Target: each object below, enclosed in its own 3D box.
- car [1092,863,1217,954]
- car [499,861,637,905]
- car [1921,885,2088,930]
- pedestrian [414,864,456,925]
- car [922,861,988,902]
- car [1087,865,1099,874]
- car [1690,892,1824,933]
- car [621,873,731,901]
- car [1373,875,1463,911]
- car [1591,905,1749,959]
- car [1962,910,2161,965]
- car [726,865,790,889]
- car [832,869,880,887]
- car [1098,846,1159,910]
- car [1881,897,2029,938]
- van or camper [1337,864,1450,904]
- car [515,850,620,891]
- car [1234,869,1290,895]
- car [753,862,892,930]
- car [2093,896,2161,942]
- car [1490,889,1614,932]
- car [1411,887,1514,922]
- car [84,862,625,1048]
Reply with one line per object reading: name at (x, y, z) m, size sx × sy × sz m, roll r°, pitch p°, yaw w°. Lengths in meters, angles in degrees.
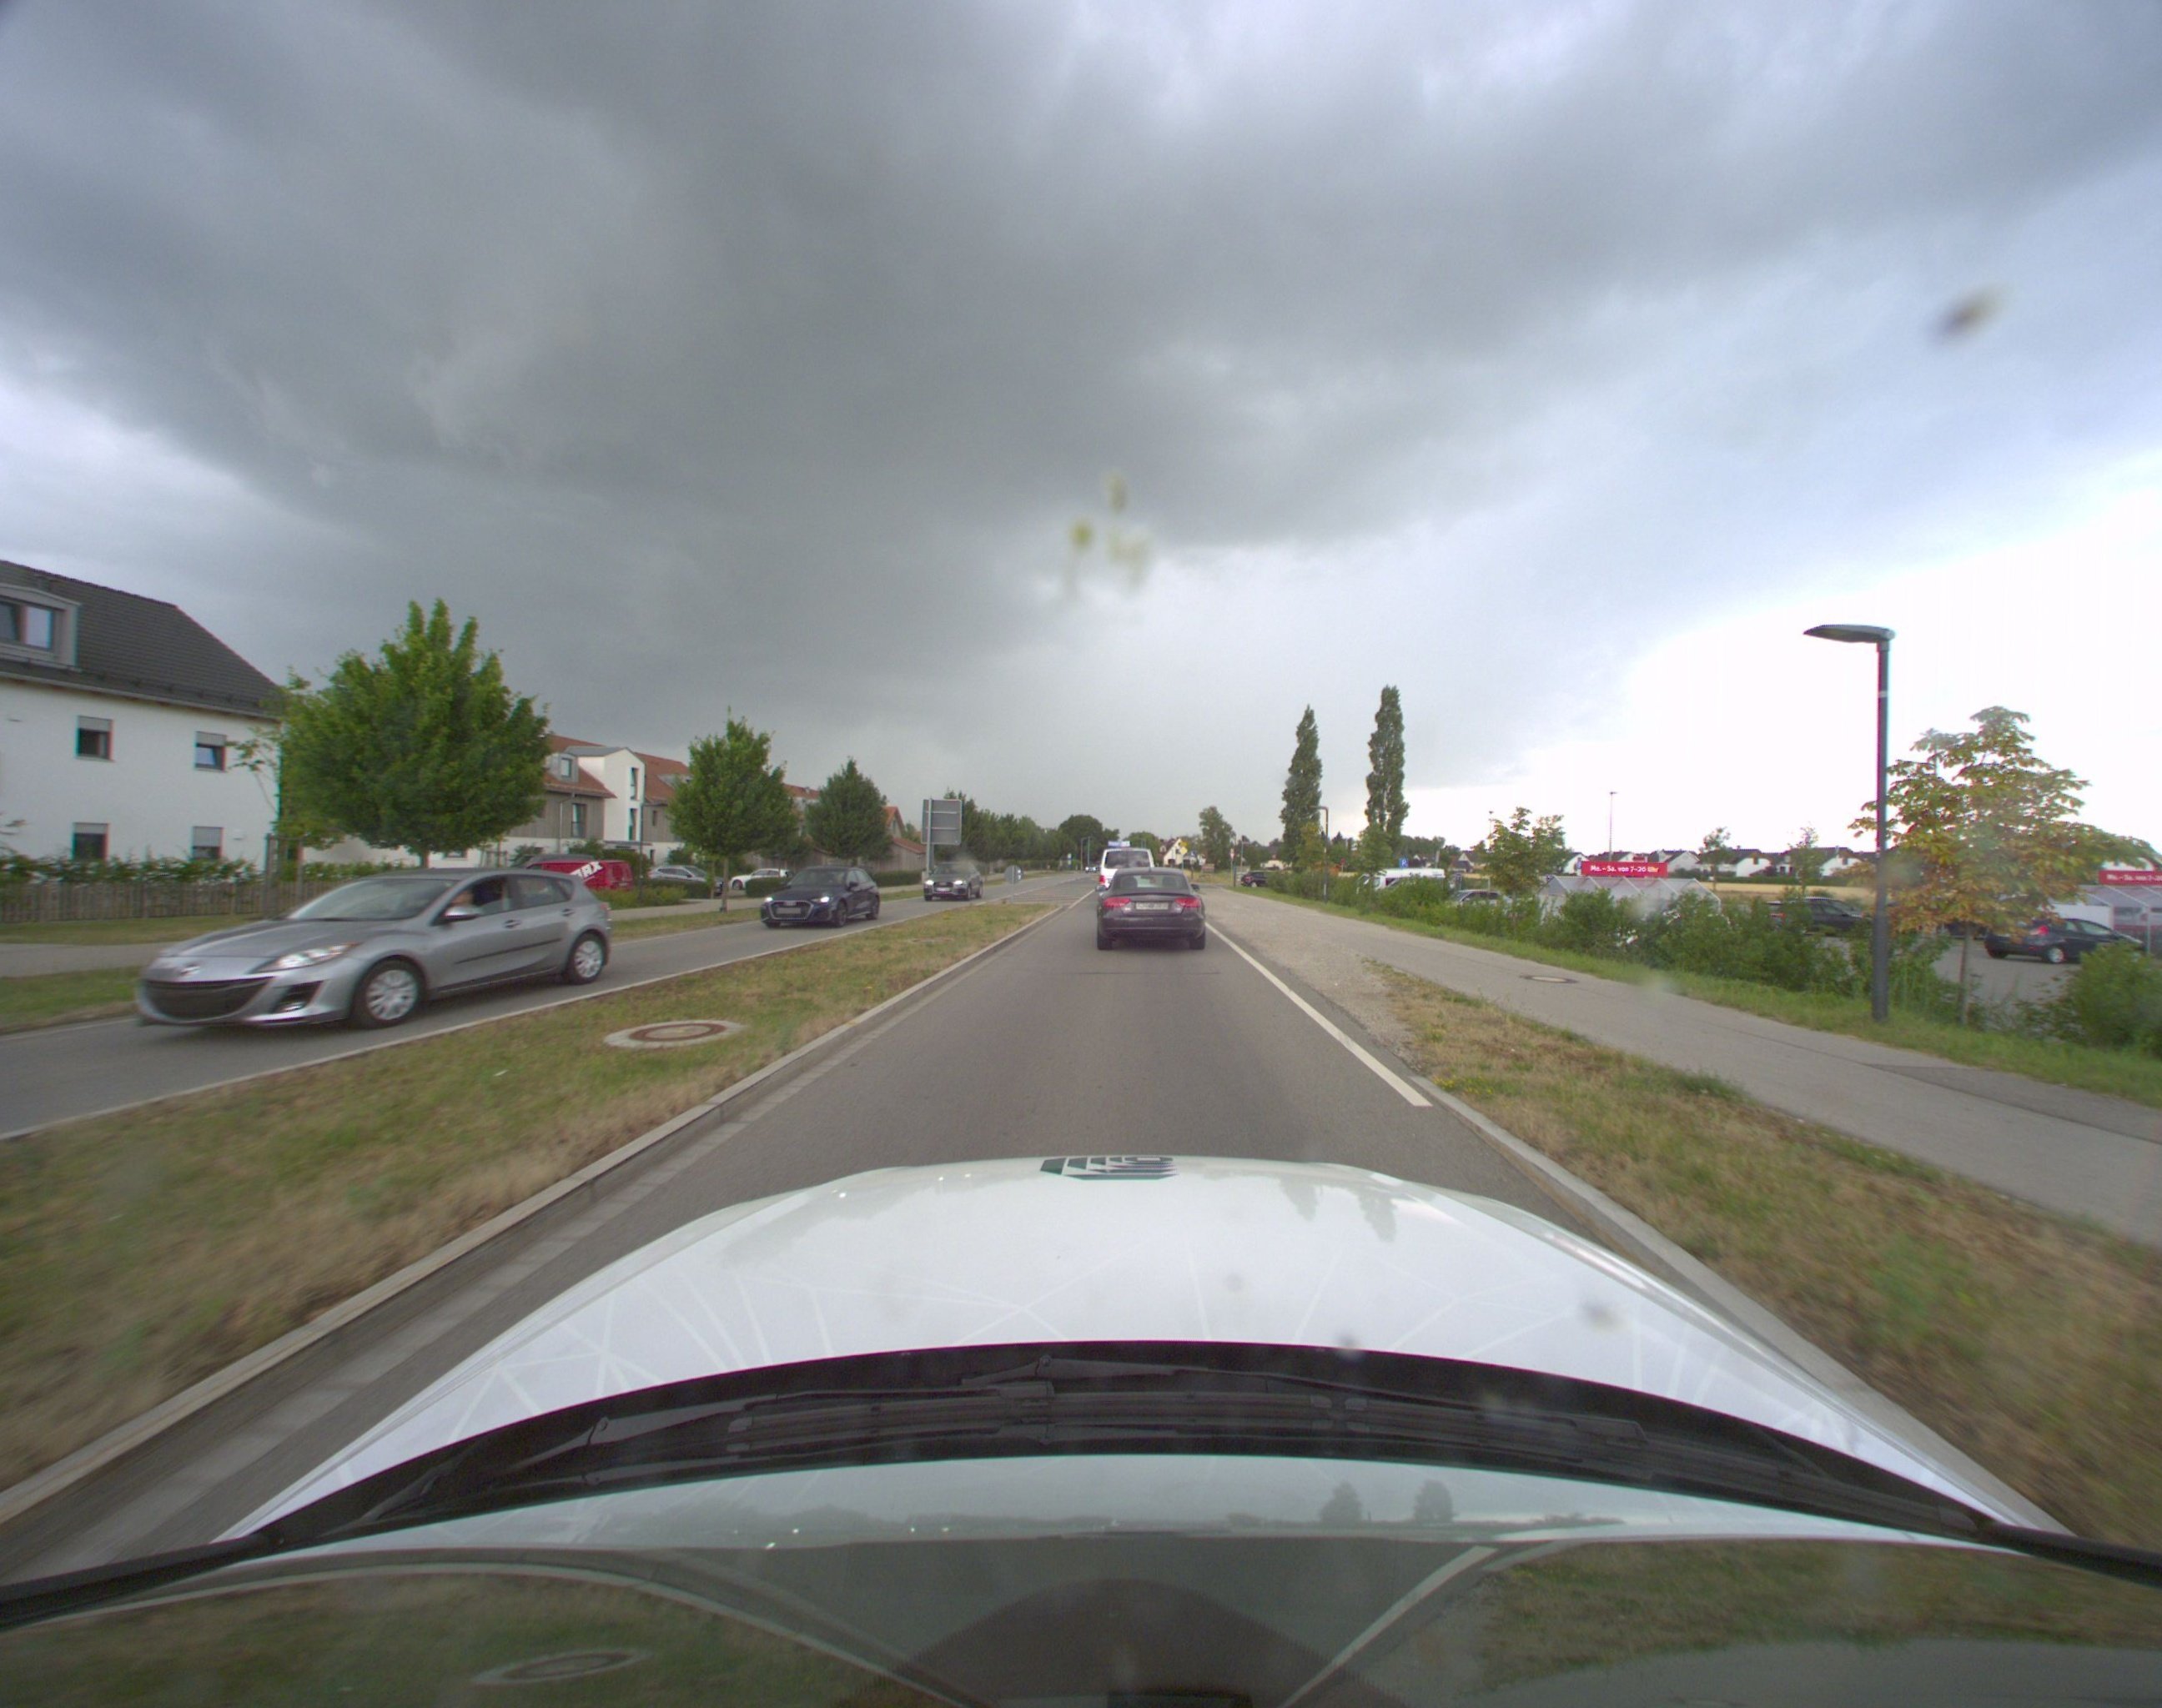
car at (1.180, 0.875, 14.985) m, size 1.820 × 1.388 × 4.385 m, roll -1°, pitch 0°, yaw -1°
car at (-21.731, 1.216, 34.586) m, size 4.877 × 1.816 × 1.910 m, roll 0°, pitch -1°, yaw 8°
car at (44.141, 2.540, 39.037) m, size 5.185 × 2.014 × 2.005 m, roll -1°, pitch -1°, yaw 9°
pedestrian at (-16.922, 1.049, 21.352) m, size 0.543 × 1.530 × 0.587 m, roll 2°, pitch -1°, yaw 3°
car at (-5.129, 1.075, 33.763) m, size 1.818 × 1.582 × 4.219 m, roll 0°, pitch -1°, yaw 3°
car at (2.018, 2.693, 138.502) m, size 1.762 × 1.444 × 4.003 m, roll 0°, pitch -1°, yaw 3°
car at (28.866, 2.480, 34.898) m, size 3.965 × 1.618 × 2.004 m, roll 0°, pitch -1°, yaw 7°
car at (-21.276, 1.726, 42.904) m, size 4.883 × 1.430 × 1.908 m, roll 0°, pitch -1°, yaw 4°
car at (20.177, 2.319, 48.897) m, size 4.576 × 2.014 × 2.000 m, roll 0°, pitch -1°, yaw 1°
car at (18.436, 2.421, 25.590) m, size 3.742 × 1.538 × 1.676 m, roll 0°, pitch -1°, yaw 1°
car at (31.144, 2.625, 25.930) m, size 3.971 × 1.442 × 2.001 m, roll 1°, pitch 0°, yaw 2°
car at (-20.737, 1.494, 52.389) m, size 3.500 × 1.489 × 1.564 m, roll 0°, pitch -1°, yaw 3°
car at (-18.566, 1.972, 67.362) m, size 3.500 × 1.489 × 1.564 m, roll 0°, pitch -1°, yaw 3°
car at (1.530, 0.762, 27.232) m, size 1.819 × 1.913 × 4.001 m, roll 2°, pitch 0°, yaw 2°
car at (37.302, 2.700, 34.859) m, size 3.965 × 1.618 × 2.004 m, roll 0°, pitch -1°, yaw 7°
van or camper at (20.025, 1.926, 52.375) m, size 6.444 × 2.464 × 2.281 m, roll 0°, pitch -1°, yaw 0°
car at (-28.266, 0.866, 45.099) m, size 1.983 × 2.013 × 5.209 m, roll 4°, pitch 0°, yaw 6°
car at (14.424, 2.212, 65.046) m, size 3.981 × 2.014 × 1.996 m, roll 0°, pitch -1°, yaw -6°
car at (-6.244, 0.952, 20.219) m, size 1.818 × 1.488 × 4.354 m, roll 0°, pitch -1°, yaw 3°
car at (49.428, 2.928, 37.157) m, size 3.878 × 1.911 × 2.039 m, roll 0°, pitch -1°, yaw 1°
car at (17.855, 2.127, 30.995) m, size 3.742 × 1.538 × 1.676 m, roll 0°, pitch -1°, yaw 1°
car at (18.779, 2.467, 40.194) m, size 4.131 × 1.598 × 2.081 m, roll 0°, pitch -1°, yaw 1°
car at (-7.058, 0.837, 8.689) m, size 1.818 × 1.488 × 4.219 m, roll 0°, pitch -1°, yaw 3°
